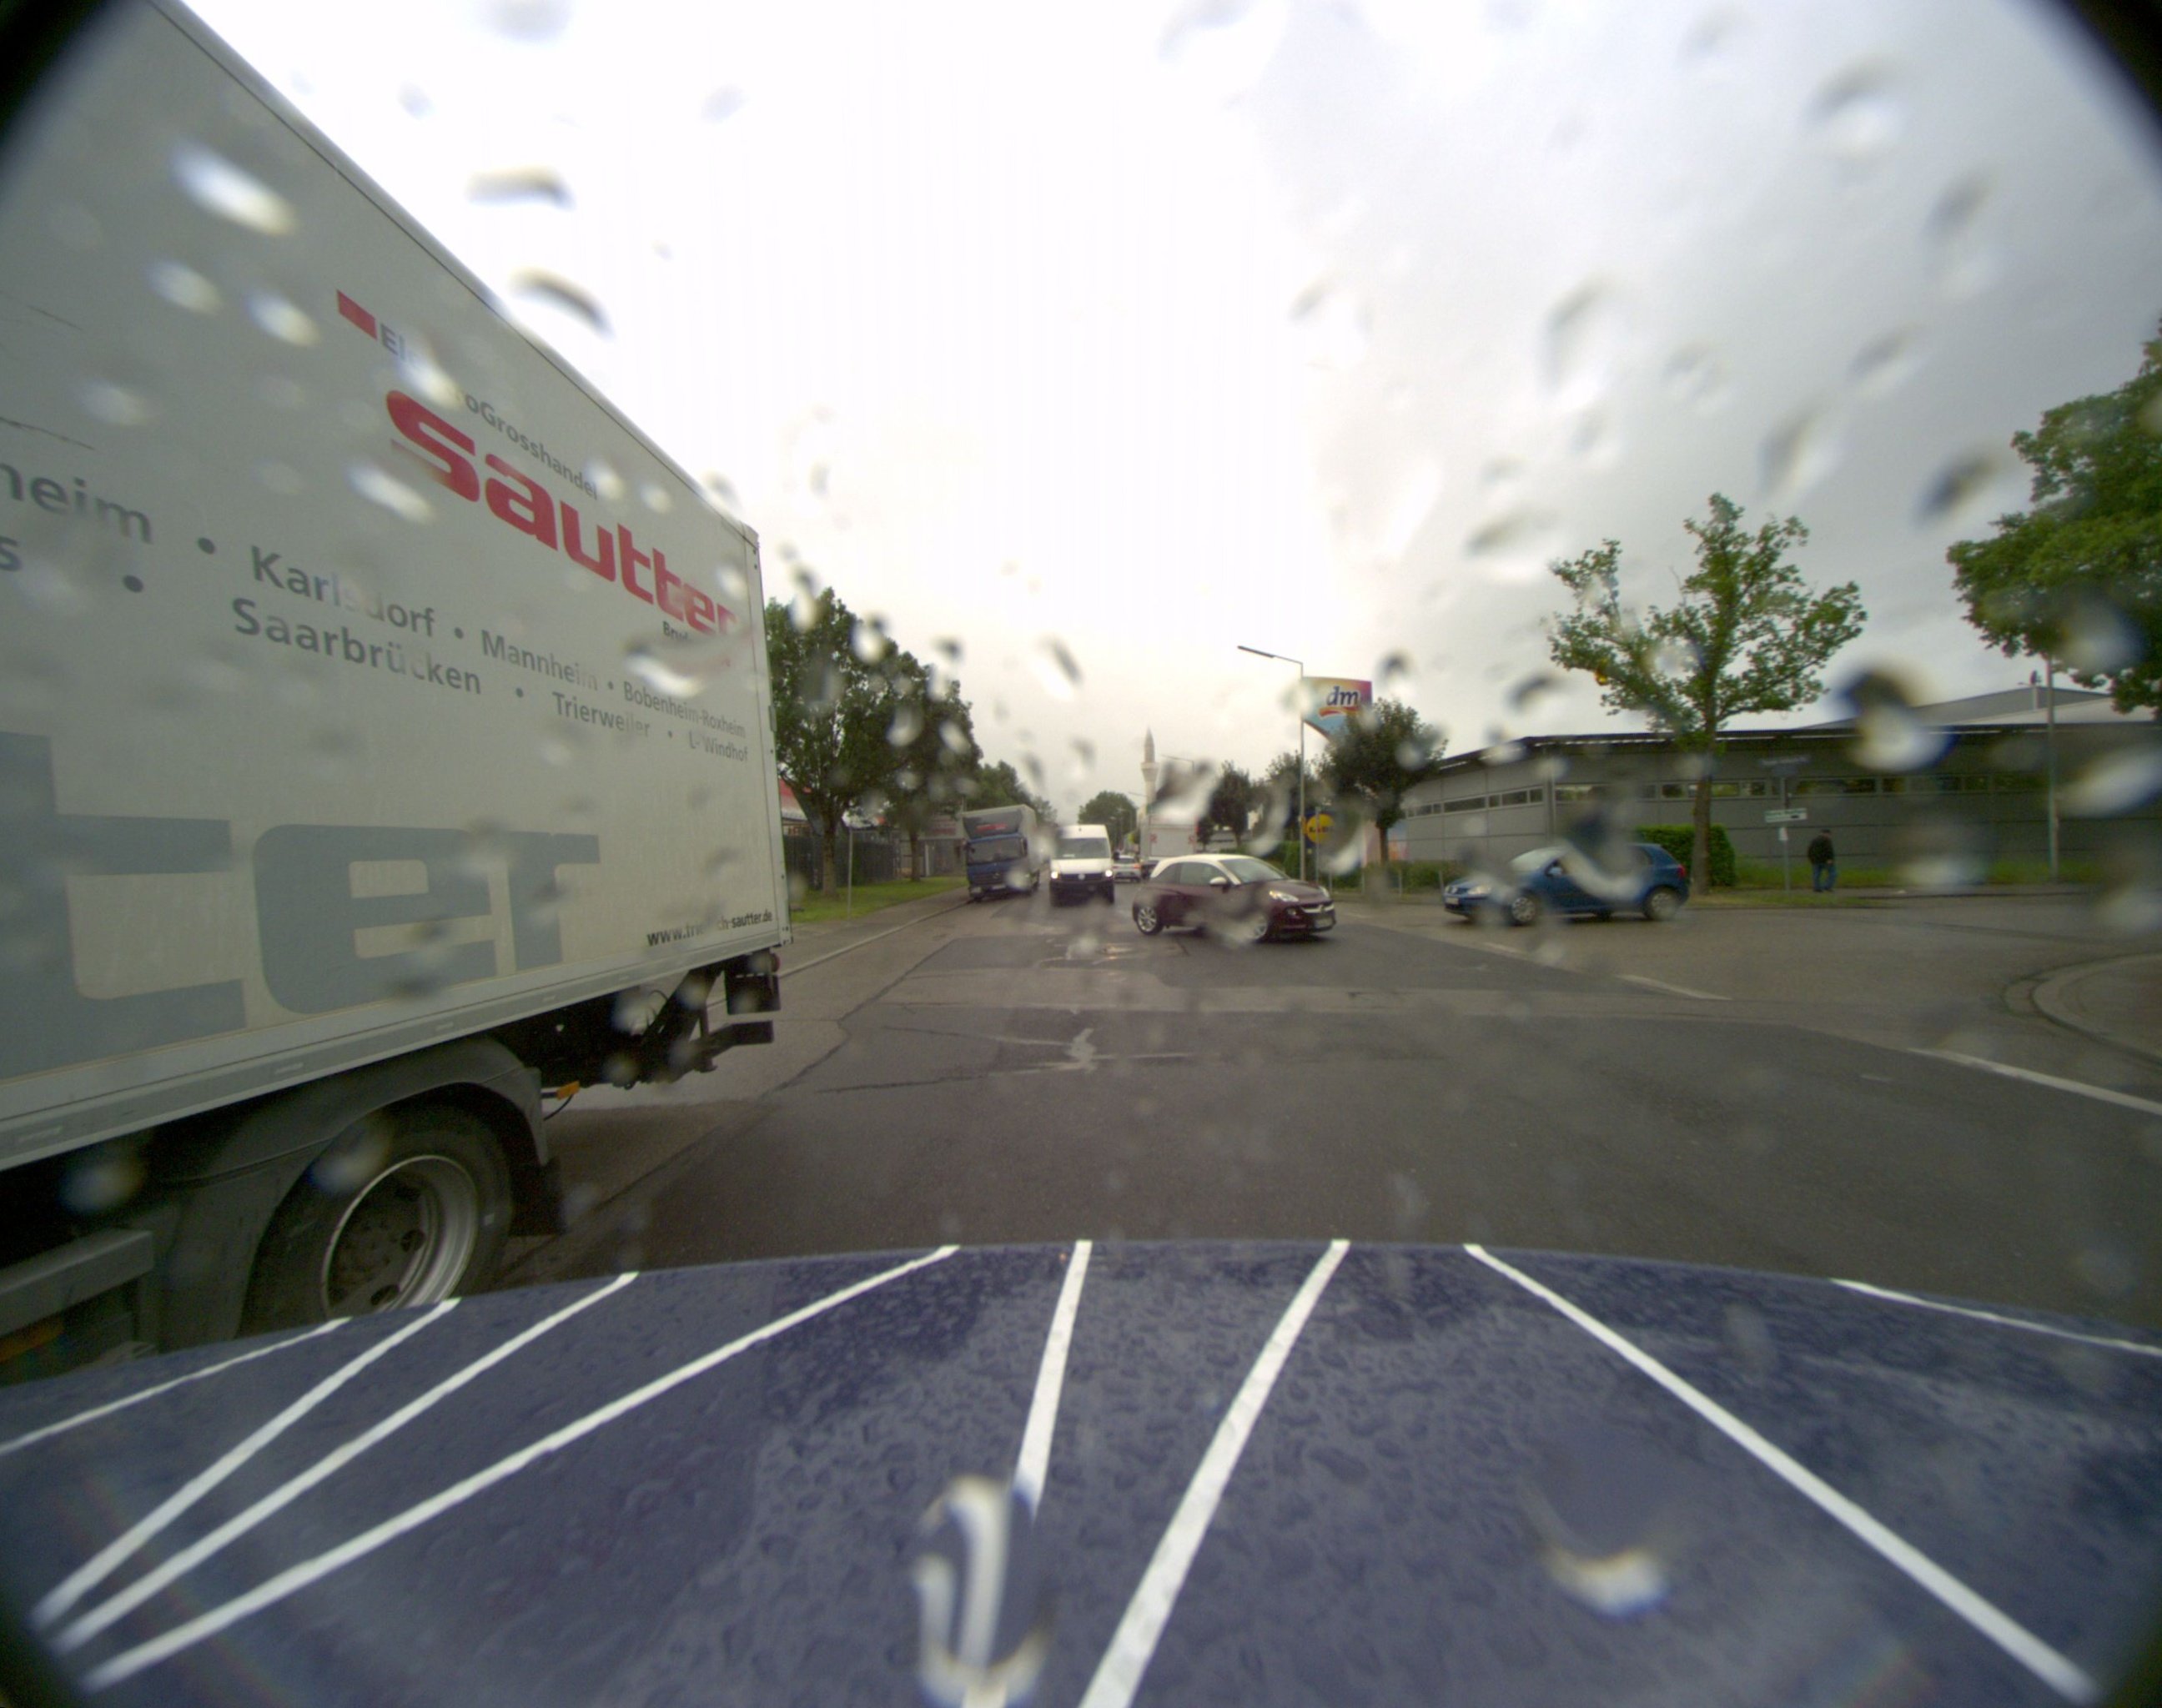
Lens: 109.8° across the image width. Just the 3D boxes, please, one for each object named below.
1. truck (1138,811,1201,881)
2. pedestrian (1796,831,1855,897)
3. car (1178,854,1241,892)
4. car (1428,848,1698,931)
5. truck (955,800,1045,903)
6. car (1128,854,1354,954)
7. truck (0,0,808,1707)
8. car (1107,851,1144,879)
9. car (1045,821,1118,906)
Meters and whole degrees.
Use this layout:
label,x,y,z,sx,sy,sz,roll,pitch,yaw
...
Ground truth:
label,x,y,z,sx,sy,sz,roll,pitch,yaw
truck,5.065,-0.458,44.830,2.889,3.724,7.867,-1,0,1
pedestrian,19.353,0.260,19.770,0.782,1.664,0.758,-1,1,-2
car,5.110,0.720,30.754,1.840,1.426,4.491,0,0,1
car,8.935,0.624,14.333,3.997,1.432,1.736,-1,0,0
truck,-3.207,-0.110,32.416,2.678,3.670,8.008,-4,0,0
car,2.690,0.803,13.336,1.641,1.447,3.568,-3,1,-41
truck,-3.421,0.004,0.479,2.748,3.767,9.298,-4,0,1
car,2.412,0.577,41.680,1.735,1.432,4.000,-1,0,-1
car,0.036,0.263,25.133,2.085,2.466,5.346,-1,0,0
